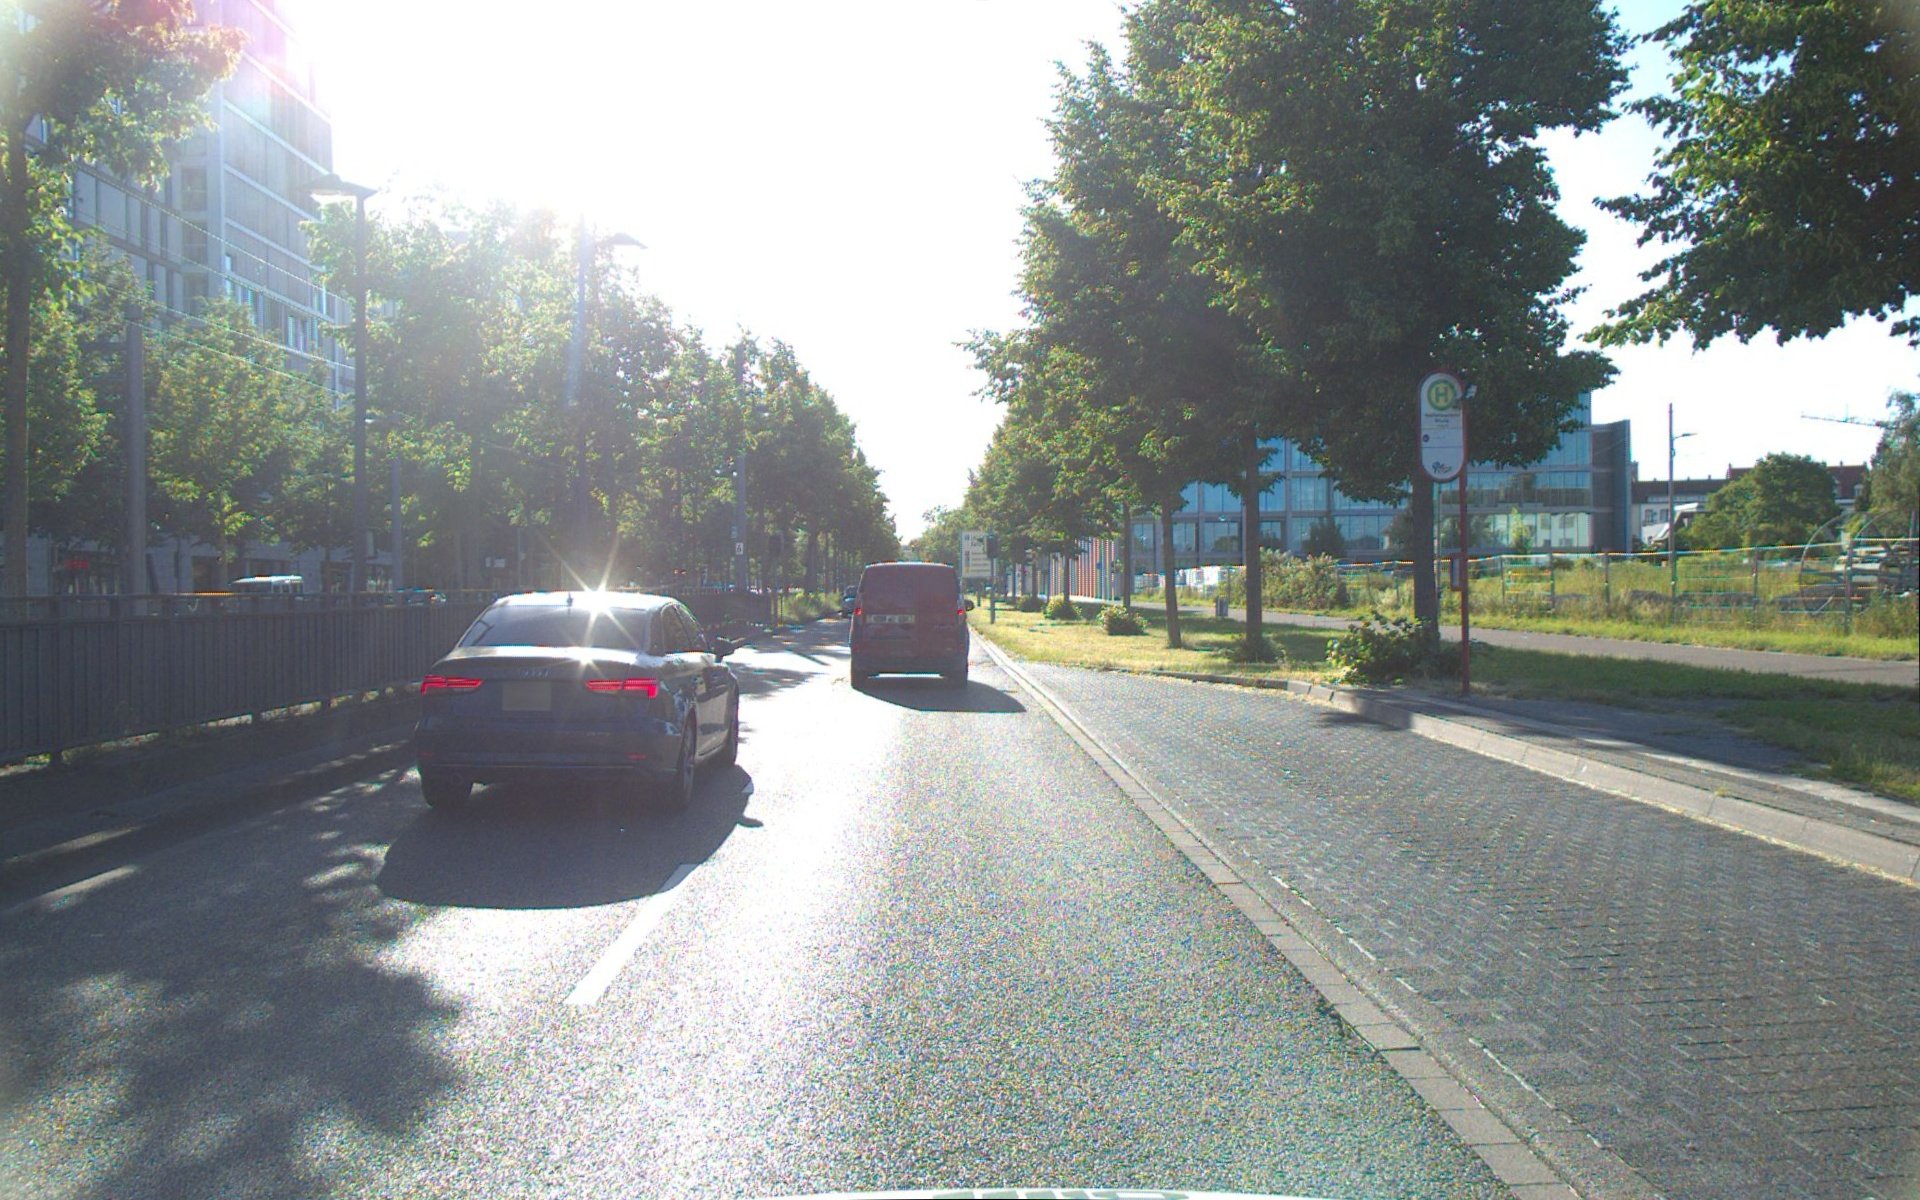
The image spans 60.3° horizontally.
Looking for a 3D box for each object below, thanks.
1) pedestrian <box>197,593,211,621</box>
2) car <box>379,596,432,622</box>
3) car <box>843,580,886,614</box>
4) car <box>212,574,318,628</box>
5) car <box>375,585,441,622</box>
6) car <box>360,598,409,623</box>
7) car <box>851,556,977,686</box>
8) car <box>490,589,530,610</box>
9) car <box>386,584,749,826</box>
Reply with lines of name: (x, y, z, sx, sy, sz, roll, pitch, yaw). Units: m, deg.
pedestrian: (-39.019, 0.387, 85.342, 0.399, 1.437, 0.690, 0, -1, -1)
car: (-32.988, 0.509, 98.561, 1.634, 1.444, 4.803, -1, 1, -2)
car: (-4.341, -0.155, 75.369, 1.904, 1.466, 3.997, -1, 1, -3)
car: (-24.003, 0.028, 57.285, 1.953, 1.780, 4.226, -1, 0, -2)
car: (-23.650, 0.127, 70.959, 1.645, 1.547, 3.699, -1, 1, -2)
car: (-32.240, 0.573, 92.717, 1.635, 1.228, 3.581, -1, 1, -3)
car: (-0.754, 0.281, 25.398, 1.762, 1.808, 3.998, -1, 0, -3)
car: (-32.737, -0.068, 120.455, 1.680, 1.445, 4.545, -1, 1, 0)
car: (-2.600, 0.607, 11.917, 1.686, 1.390, 4.145, 1, 1, -1)
